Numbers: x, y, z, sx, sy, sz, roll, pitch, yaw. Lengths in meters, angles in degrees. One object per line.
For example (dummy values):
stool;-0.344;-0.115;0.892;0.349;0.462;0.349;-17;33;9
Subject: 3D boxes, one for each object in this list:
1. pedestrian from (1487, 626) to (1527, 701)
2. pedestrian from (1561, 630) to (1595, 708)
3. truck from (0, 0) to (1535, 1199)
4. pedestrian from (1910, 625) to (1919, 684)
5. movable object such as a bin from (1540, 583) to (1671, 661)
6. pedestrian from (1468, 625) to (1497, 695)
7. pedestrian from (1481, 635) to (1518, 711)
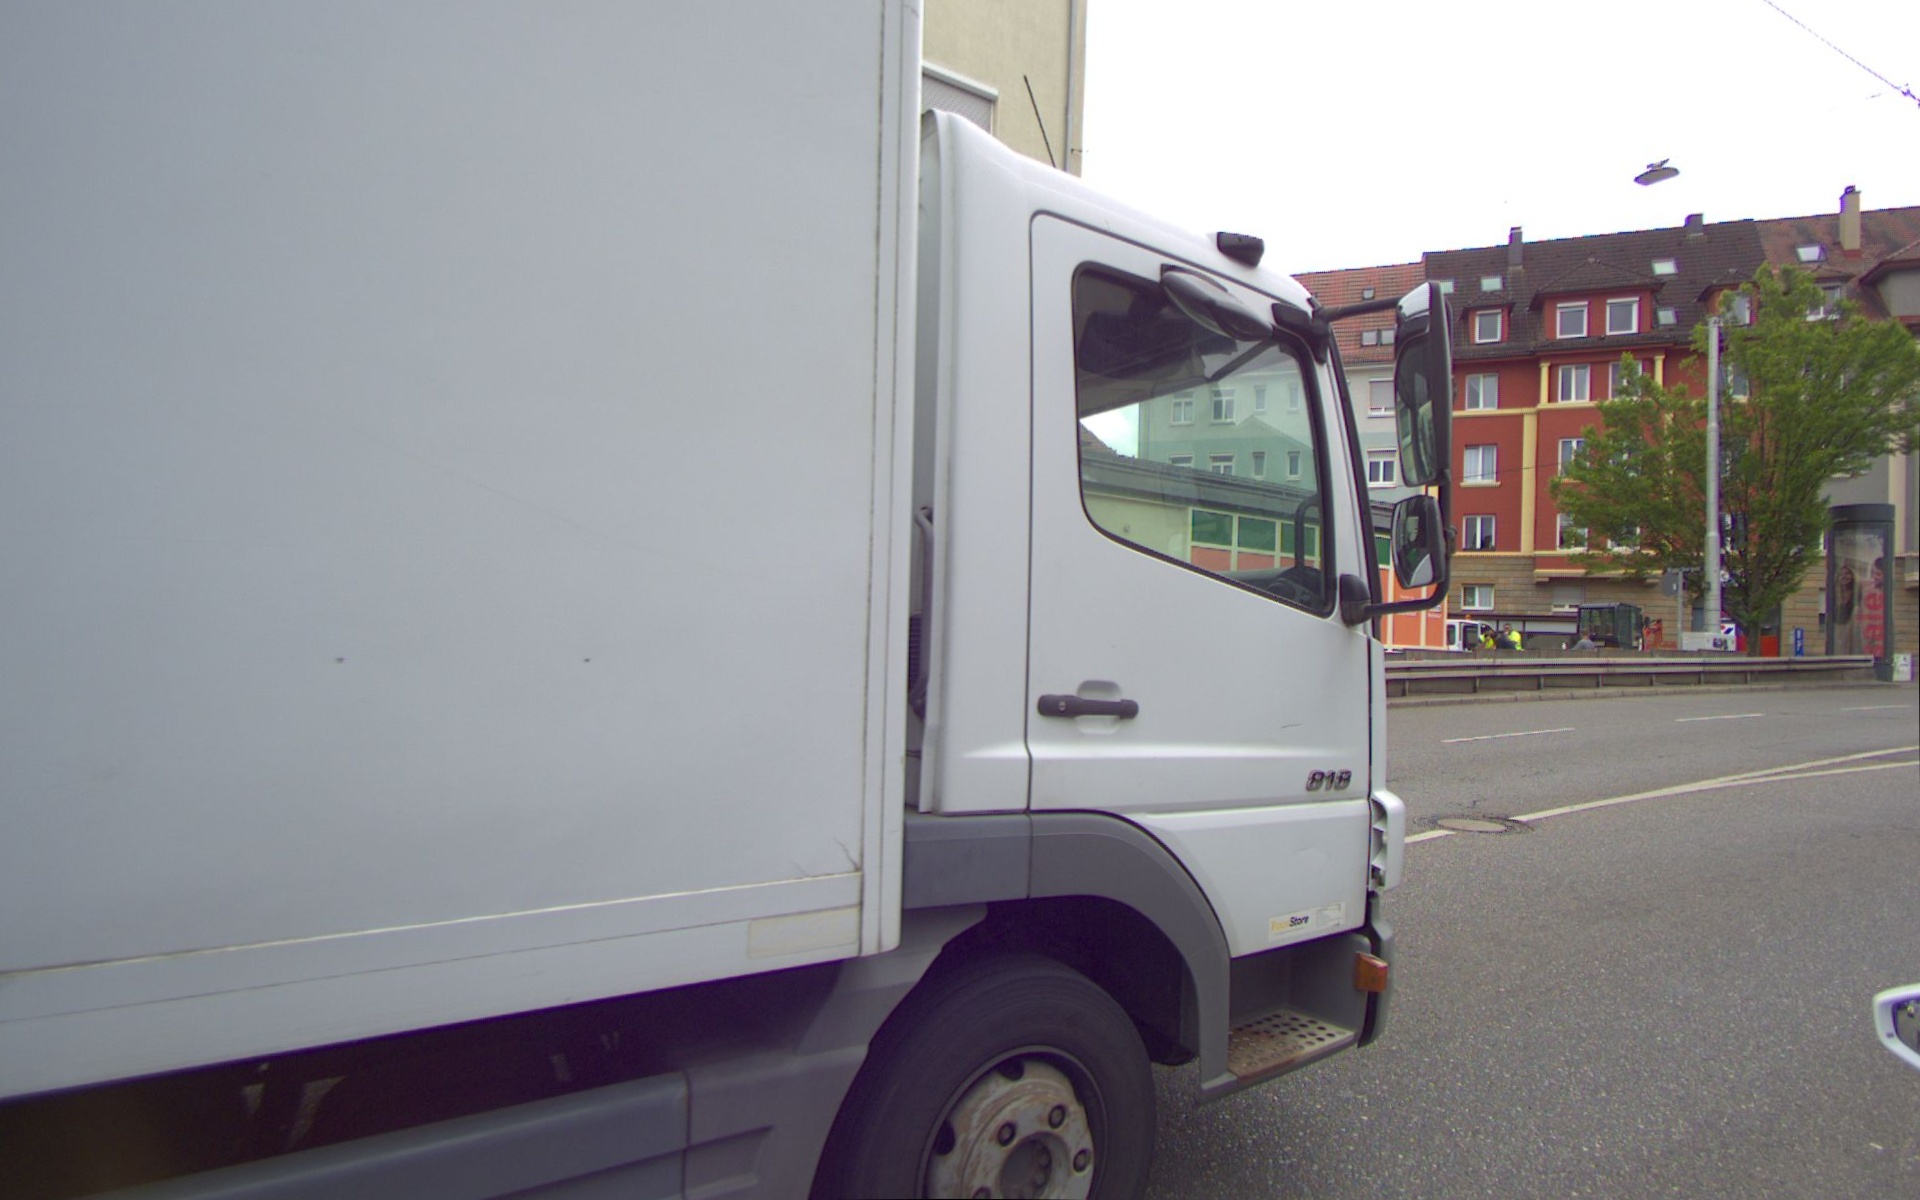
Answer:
pedestrian;13.589;1.562;24.964;0.605;1.785;0.573;2;1;5
pedestrian;14.373;1.585;23.366;0.533;1.753;0.593;3;1;26
truck;-2.634;-0.350;1.631;7.973;3.623;2.754;1;0;-32
pedestrian;26.101;1.484;27.041;0.480;1.588;0.586;2;1;-30
movable object such as a bin;16.592;0.546;25.742;3.972;1.795;1.884;2;1;-43
pedestrian;13.474;1.547;25.906;0.467;1.753;0.543;2;1;14
pedestrian;12.675;1.705;23.605;0.539;1.722;0.557;1;1;-41
